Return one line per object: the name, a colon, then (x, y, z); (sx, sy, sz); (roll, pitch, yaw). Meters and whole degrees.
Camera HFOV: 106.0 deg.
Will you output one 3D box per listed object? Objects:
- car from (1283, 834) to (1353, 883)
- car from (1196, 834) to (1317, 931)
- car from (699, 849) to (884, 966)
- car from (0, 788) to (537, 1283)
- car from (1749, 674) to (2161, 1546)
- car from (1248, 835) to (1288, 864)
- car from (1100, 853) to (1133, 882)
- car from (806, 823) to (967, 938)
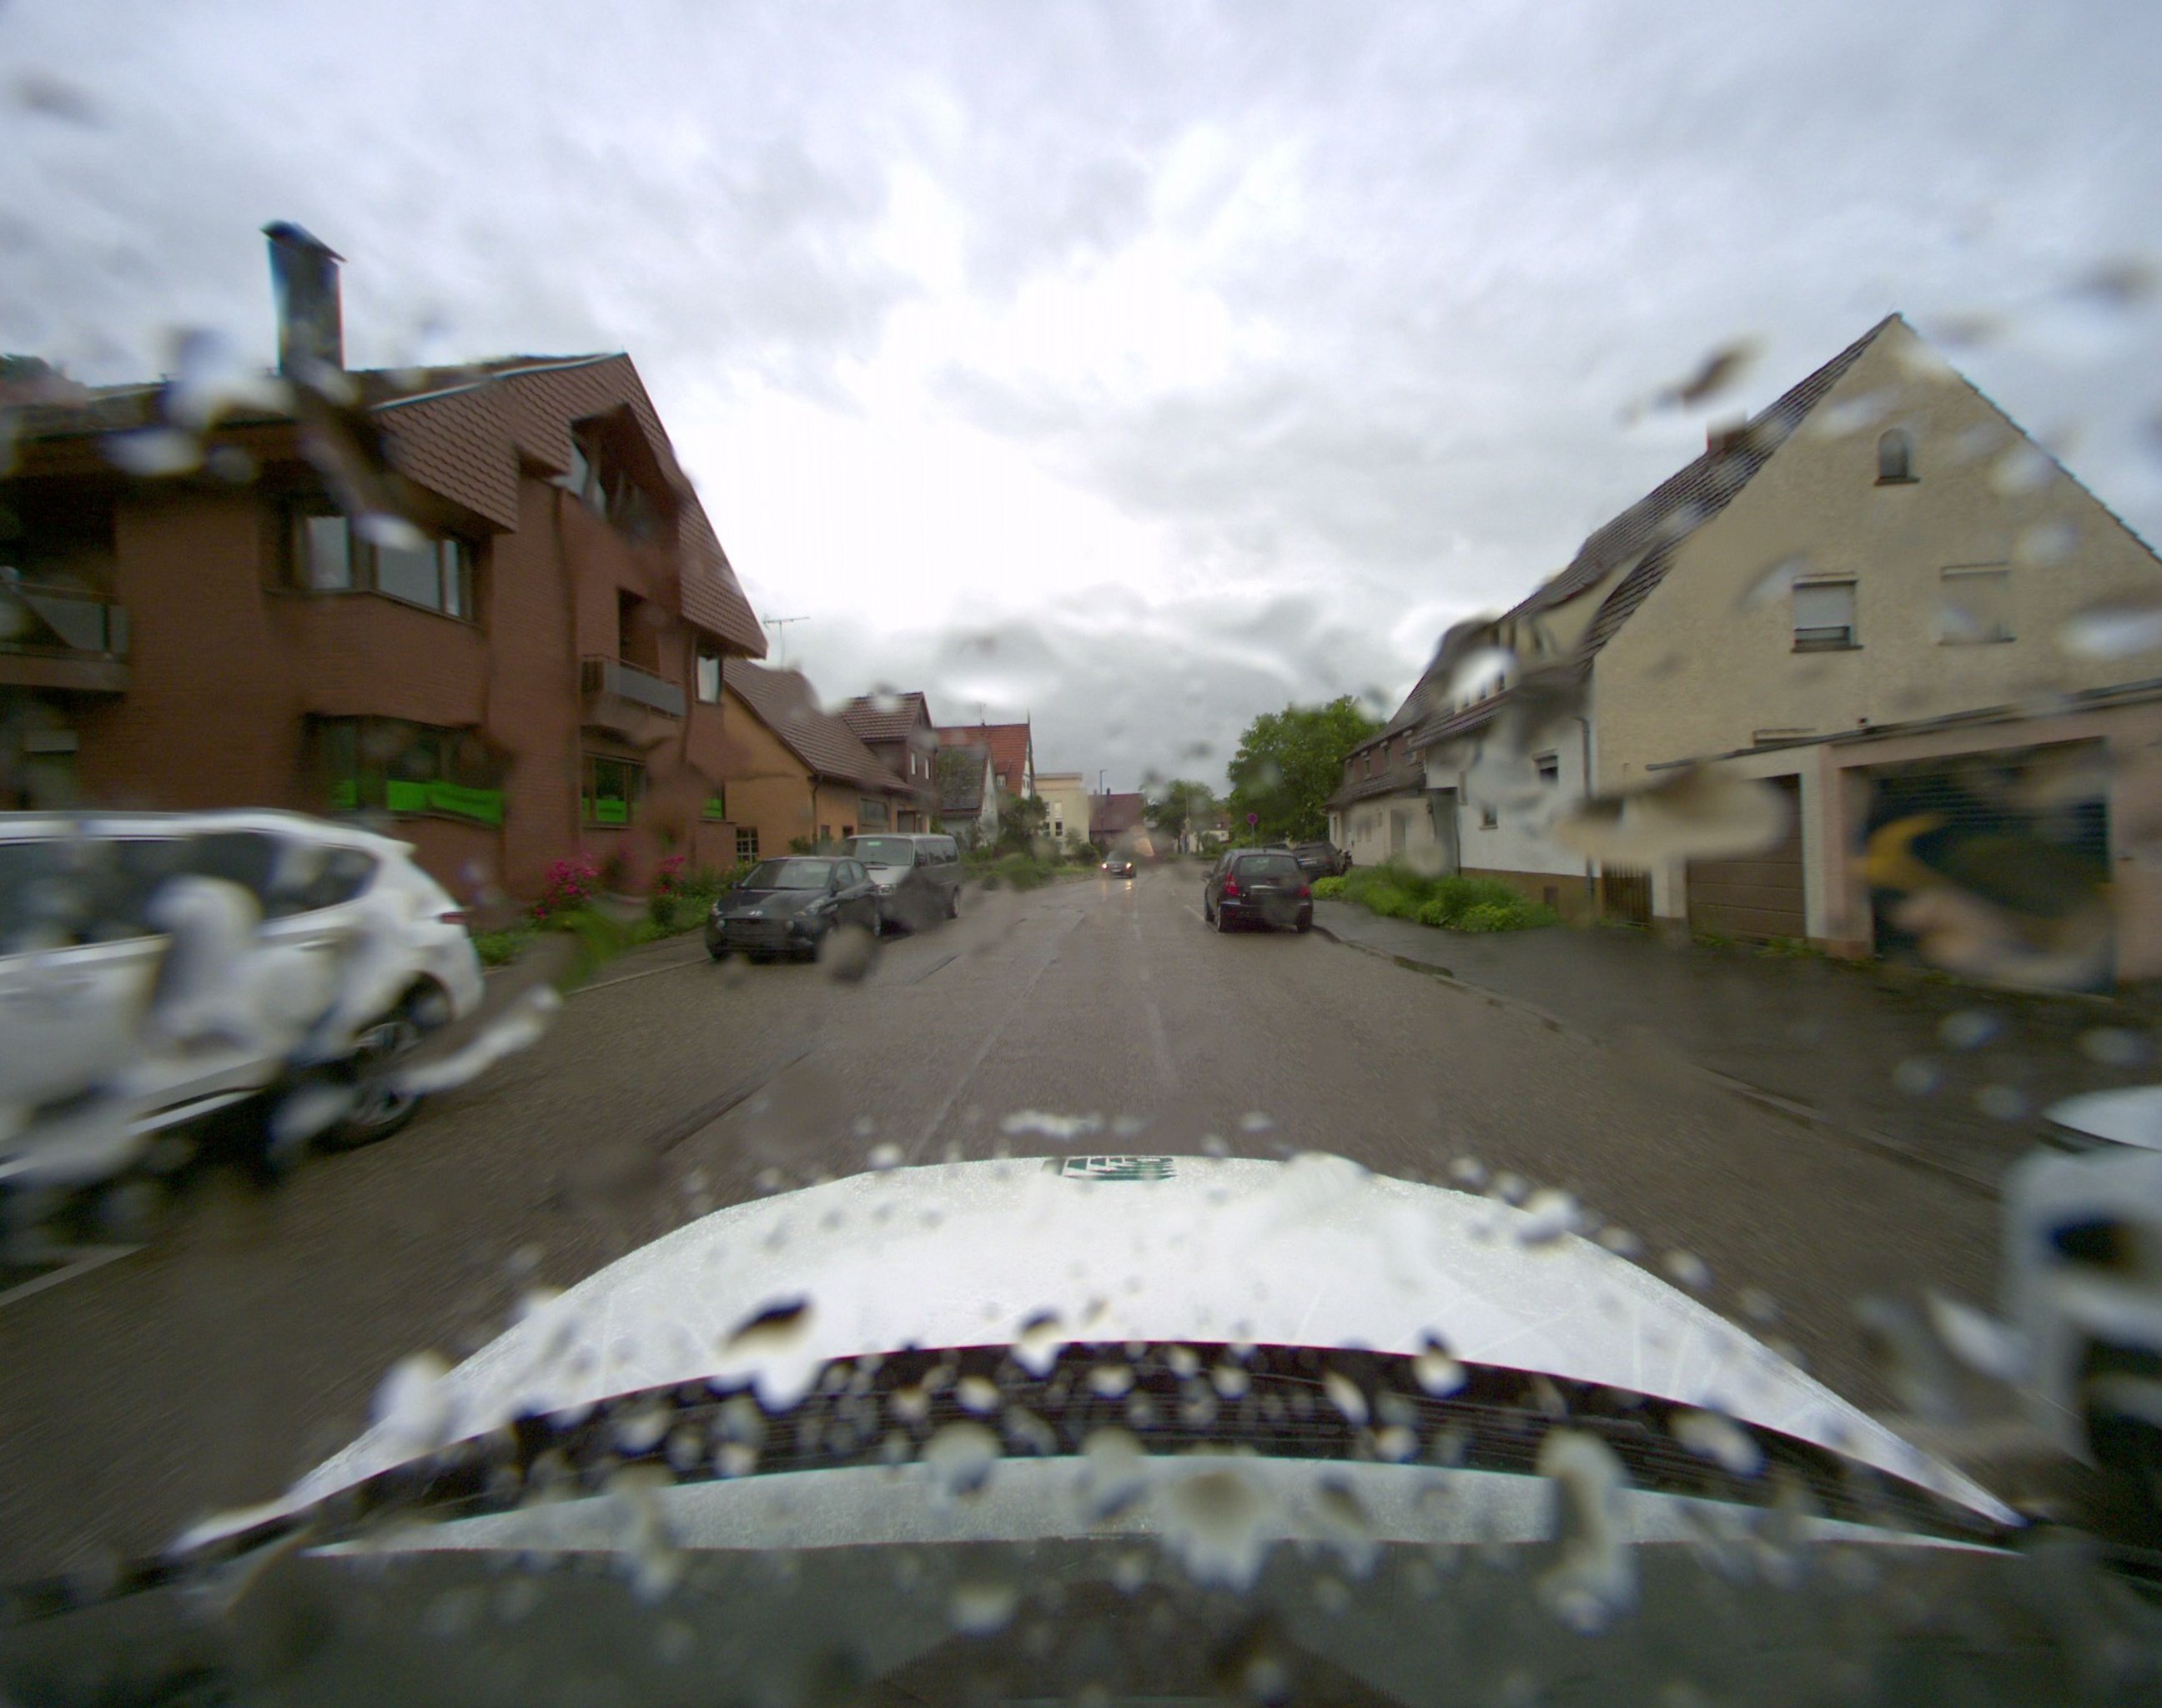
car: (8.635, 0.125, 29.480); (1.743, 1.393, 4.023); (-8, -1, 24)
car: (3.493, 0.520, 16.896); (1.742, 1.710, 4.002); (-2, 0, 2)
car: (-4.261, 0.713, 12.565); (1.574, 1.497, 3.566); (-2, 0, -1)
car: (-4.443, 0.622, 3.027); (1.759, 1.619, 4.653); (-2, 0, -2)
car: (2.869, 0.455, 0.104); (1.797, 1.595, 4.611); (0, 0, 0)
car: (9.842, -0.231, 43.045); (1.629, 1.430, 3.684); (-2, 0, 7)
car: (2.197, 0.804, 49.397); (1.789, 1.640, 4.006); (-1, 0, 5)
car: (-3.885, 0.483, 17.345); (1.813, 2.013, 5.219); (-2, 0, 3)
